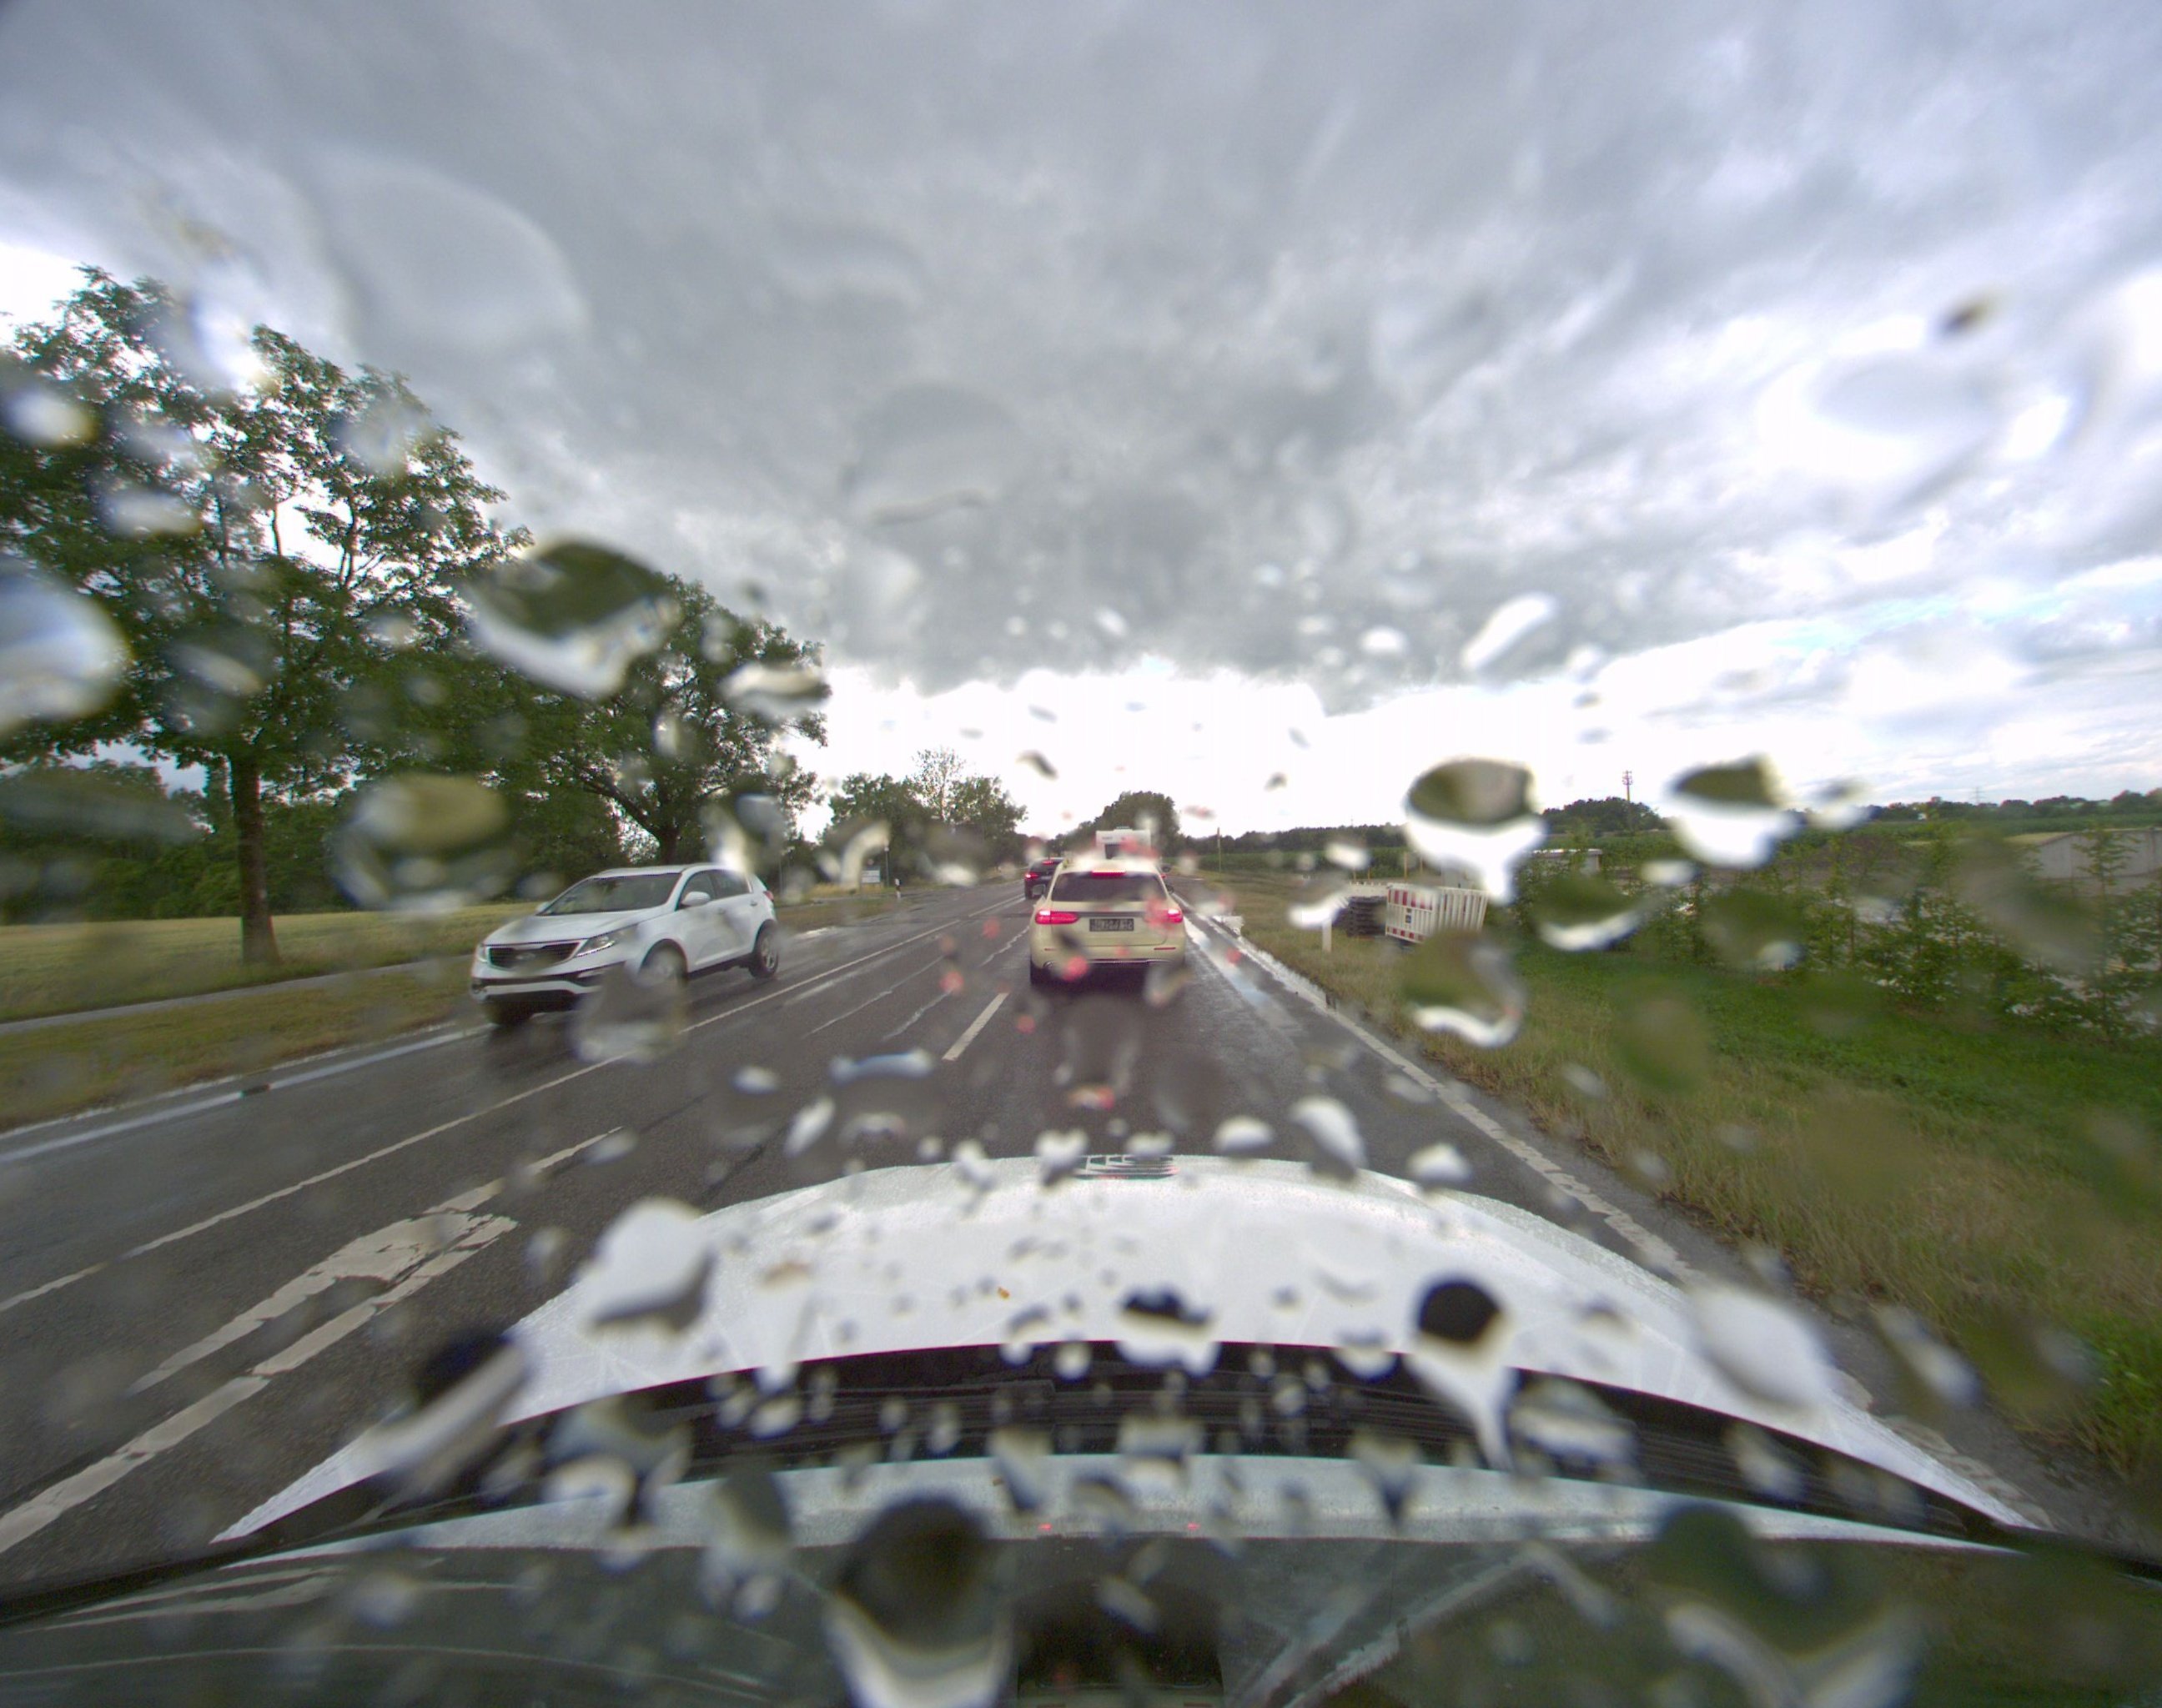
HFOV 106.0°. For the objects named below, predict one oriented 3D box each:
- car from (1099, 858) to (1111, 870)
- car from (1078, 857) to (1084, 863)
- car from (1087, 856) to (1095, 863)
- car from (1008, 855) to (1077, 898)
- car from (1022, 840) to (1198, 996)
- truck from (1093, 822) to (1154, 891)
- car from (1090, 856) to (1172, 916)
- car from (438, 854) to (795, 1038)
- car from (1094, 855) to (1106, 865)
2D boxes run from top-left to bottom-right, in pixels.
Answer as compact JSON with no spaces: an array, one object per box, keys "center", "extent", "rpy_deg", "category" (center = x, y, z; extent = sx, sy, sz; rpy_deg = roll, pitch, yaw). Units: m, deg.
[{"center":[3.812,1.638,129.927],"extent":[1.784,1.777,3.722],"rpy_deg":[-3,0,2],"category":"car"},{"center":[-0.014,1.835,255.920],"extent":[1.888,1.839,3.883],"rpy_deg":[-3,0,2],"category":"car"},{"center":[2.660,1.410,209.839],"extent":[1.890,1.895,3.841],"rpy_deg":[-3,0,-1],"category":"car"},{"center":[-1.390,0.821,31.569],"extent":[2.293,1.547,4.634],"rpy_deg":[-1,0,2],"category":"car"},{"center":[0.378,0.685,10.602],"extent":[1.835,1.618,4.002],"rpy_deg":[-1,0,2],"category":"car"},{"center":[1.884,0.091,37.012],"extent":[2.354,2.729,7.318],"rpy_deg":[-3,0,2],"category":"truck"},{"center":[1.287,0.799,21.910],"extent":[1.986,1.462,4.002],"rpy_deg":[-1,0,2],"category":"car"},{"center":[-5.243,0.894,9.966],"extent":[1.697,1.671,4.159],"rpy_deg":[-4,0,3],"category":"car"},{"center":[3.674,1.076,154.836],"extent":[1.988,1.772,3.997],"rpy_deg":[-3,0,-2],"category":"car"}]
